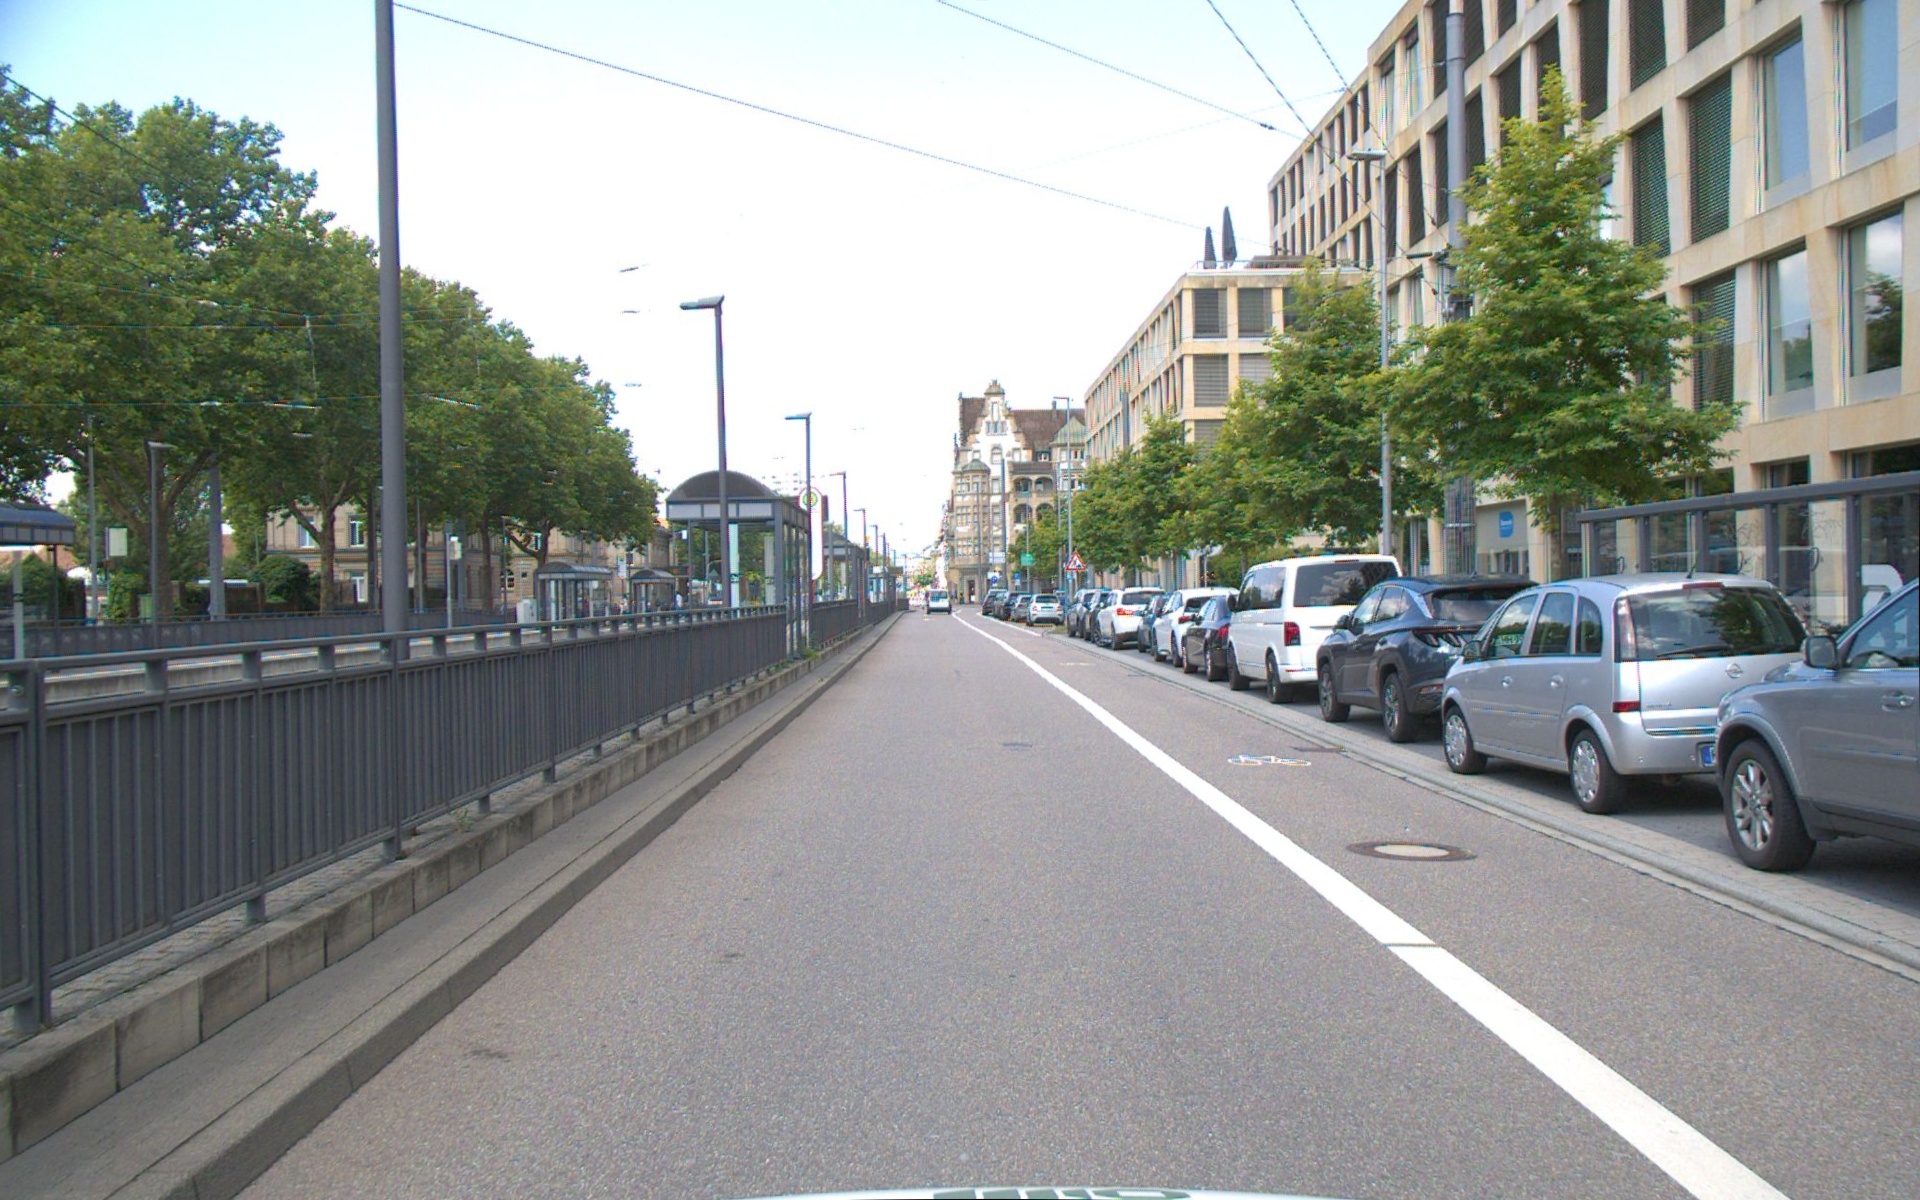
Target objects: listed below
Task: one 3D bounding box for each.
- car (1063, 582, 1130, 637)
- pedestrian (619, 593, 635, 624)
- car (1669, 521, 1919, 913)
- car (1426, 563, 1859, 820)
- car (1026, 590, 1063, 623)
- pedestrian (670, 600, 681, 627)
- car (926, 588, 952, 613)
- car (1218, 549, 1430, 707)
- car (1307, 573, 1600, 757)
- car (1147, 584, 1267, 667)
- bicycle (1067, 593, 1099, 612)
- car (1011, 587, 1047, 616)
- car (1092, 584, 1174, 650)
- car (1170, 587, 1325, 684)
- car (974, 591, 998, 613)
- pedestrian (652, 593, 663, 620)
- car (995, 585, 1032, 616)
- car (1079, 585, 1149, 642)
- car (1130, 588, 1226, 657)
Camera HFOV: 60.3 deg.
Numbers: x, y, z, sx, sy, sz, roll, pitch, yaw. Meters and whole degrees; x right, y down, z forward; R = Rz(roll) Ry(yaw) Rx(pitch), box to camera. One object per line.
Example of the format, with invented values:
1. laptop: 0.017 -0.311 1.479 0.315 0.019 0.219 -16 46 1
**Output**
1. car: 4.600 0.296 56.190 1.652 1.662 3.988 -4 1 -3
2. pedestrian: -16.830 0.423 83.540 0.689 1.539 0.801 -2 0 -10
3. car: 5.253 0.513 7.675 1.733 1.798 4.839 -2 0 -1
4. car: 5.070 0.588 12.896 1.686 1.648 3.859 -2 0 -1
5. car: 3.957 0.309 77.665 1.558 1.485 3.613 0 1 0
6. pedestrian: -18.454 0.875 107.325 0.490 1.712 0.643 -3 1 -1
7. car: -1.553 0.000 121.005 1.831 1.777 3.999 0 0 -2
8. car: 5.139 0.340 24.063 1.844 1.973 4.842 -3 1 -1
9. car: 5.193 0.603 18.060 1.686 1.669 4.526 -3 1 -1
10. car: 5.135 0.493 34.892 1.756 1.556 4.158 -3 1 -1
11. bicycle: 7.240 0.165 97.416 1.786 1.048 0.584 -2 0 2
12. car: 3.667 0.065 88.834 1.559 1.459 4.105 0 1 -3
13. car: 4.676 0.420 45.097 1.651 1.634 4.151 -3 1 -1
14. car: 5.036 0.564 29.570 1.844 1.513 4.562 -3 1 -1
15. car: 1.813 0.146 115.653 1.414 1.495 4.090 0 1 -3
16. pedestrian: -17.736 0.371 96.933 0.490 1.585 0.643 -1 0 -1
17. car: 3.035 0.031 94.598 1.703 1.698 4.838 0 1 -3
18. car: 4.672 0.386 50.598 1.651 1.575 3.925 -3 1 -1
19. car: 5.209 0.496 39.873 1.651 1.483 3.949 -3 1 -1
